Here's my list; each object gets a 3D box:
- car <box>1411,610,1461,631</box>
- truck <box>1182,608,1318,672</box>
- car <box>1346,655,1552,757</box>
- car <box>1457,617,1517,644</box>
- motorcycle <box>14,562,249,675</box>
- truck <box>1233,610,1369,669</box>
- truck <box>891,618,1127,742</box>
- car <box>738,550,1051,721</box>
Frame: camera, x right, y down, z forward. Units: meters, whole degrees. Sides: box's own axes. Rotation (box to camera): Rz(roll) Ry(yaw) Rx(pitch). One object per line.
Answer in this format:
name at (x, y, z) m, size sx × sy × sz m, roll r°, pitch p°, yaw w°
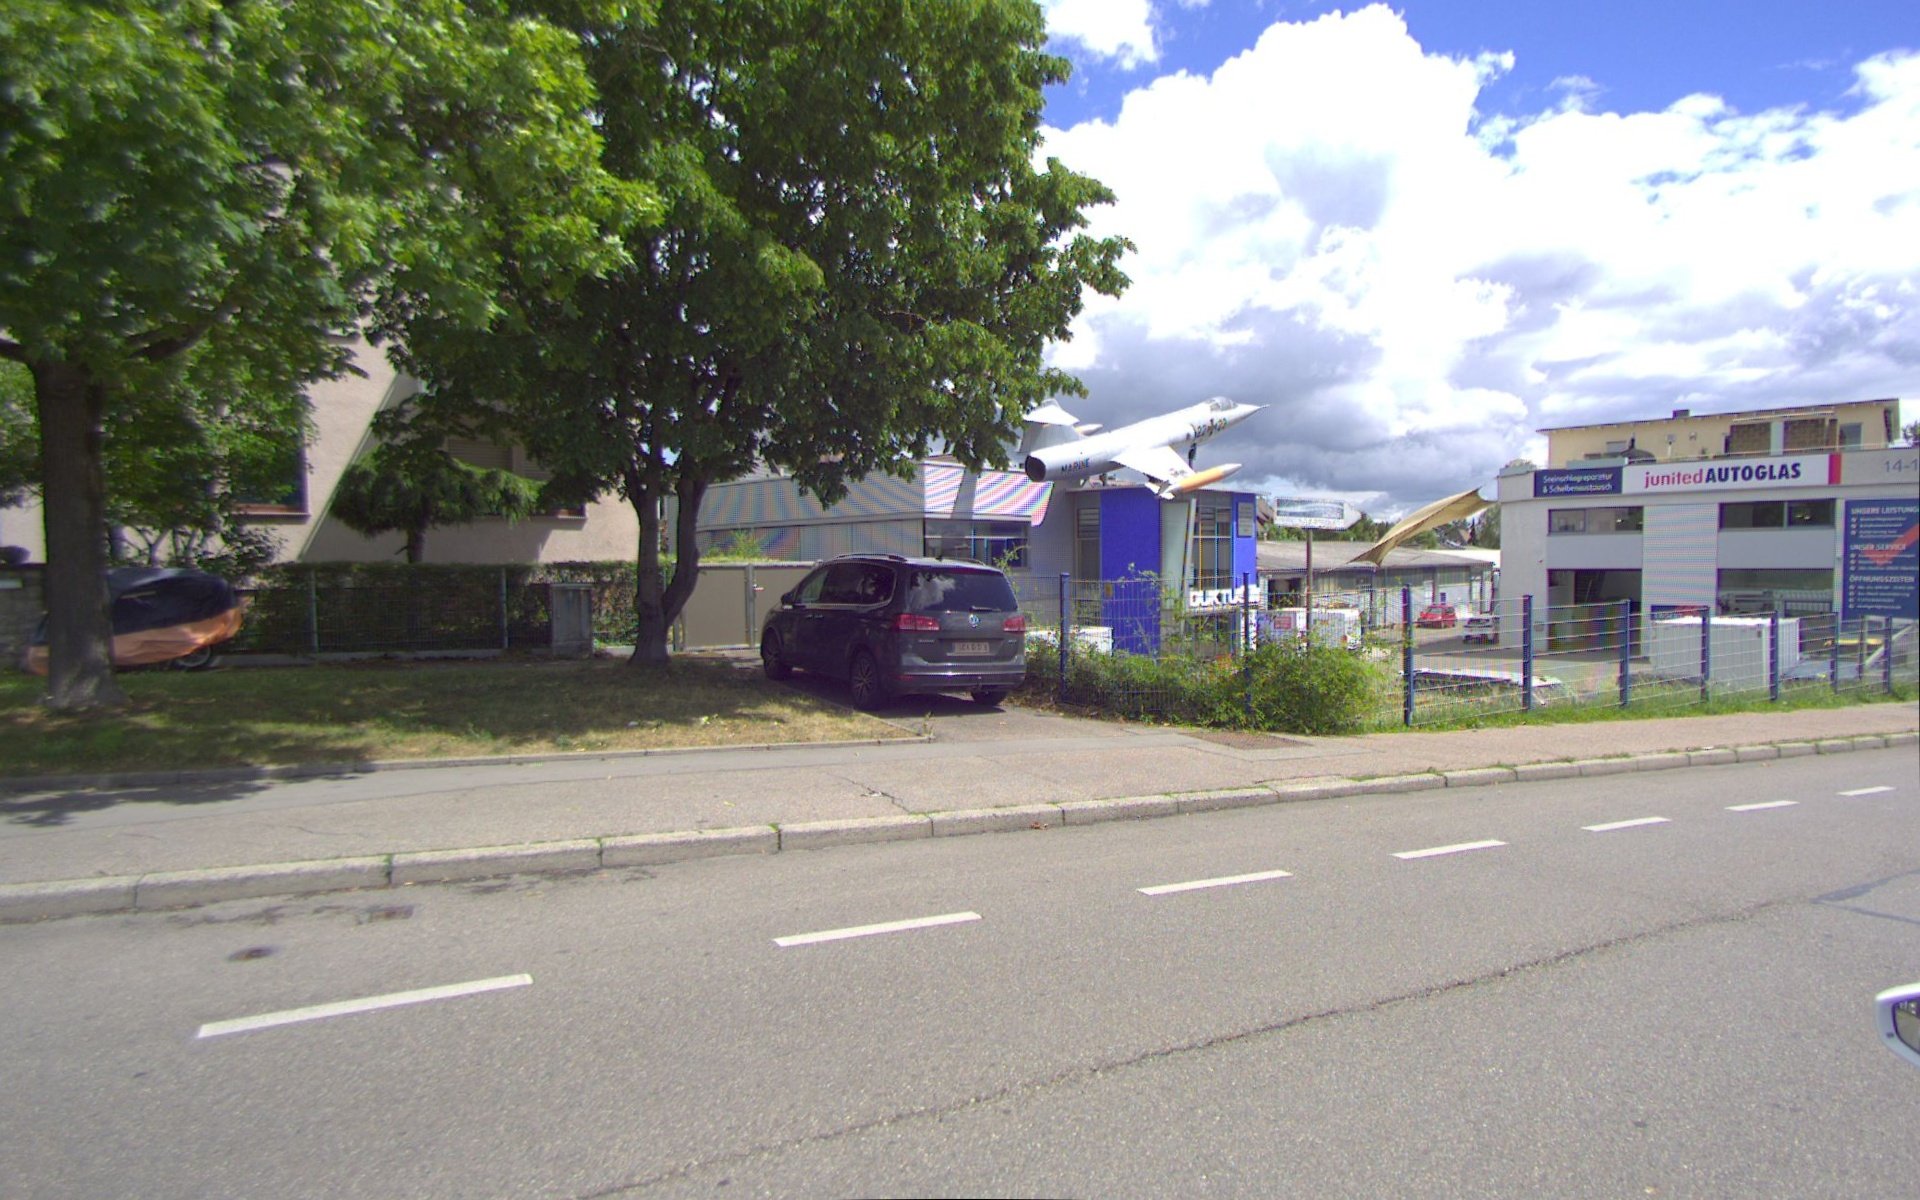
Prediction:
car at (32.274, 1.384, 68.024) m, size 1.972 × 1.372 × 3.977 m, roll 2°, pitch 0°, yaw 43°
truck at (13.163, 1.780, 45.931) m, size 2.162 × 2.742 × 5.726 m, roll 1°, pitch -1°, yaw -43°
car at (11.519, 2.411, 23.890) m, size 1.979 × 2.040 × 3.963 m, roll 1°, pitch -1°, yaw -33°
car at (29.124, 1.664, 55.452) m, size 1.972 × 1.372 × 3.977 m, roll 2°, pitch 0°, yaw 43°
motorcycle at (-10.505, 0.216, 12.881) m, size 2.211 × 1.333 × 0.912 m, roll 1°, pitch 2°, yaw -33°
truck at (15.962, 1.785, 47.316) m, size 2.192 × 2.609 × 5.726 m, roll 1°, pitch -1°, yaw -43°
truck at (1.343, 2.002, 26.670) m, size 5.812 × 2.912 × 2.446 m, roll 1°, pitch 0°, yaw -30°
car at (-1.065, 0.302, 12.702) m, size 1.977 × 1.739 × 4.674 m, roll 3°, pitch 1°, yaw -31°
